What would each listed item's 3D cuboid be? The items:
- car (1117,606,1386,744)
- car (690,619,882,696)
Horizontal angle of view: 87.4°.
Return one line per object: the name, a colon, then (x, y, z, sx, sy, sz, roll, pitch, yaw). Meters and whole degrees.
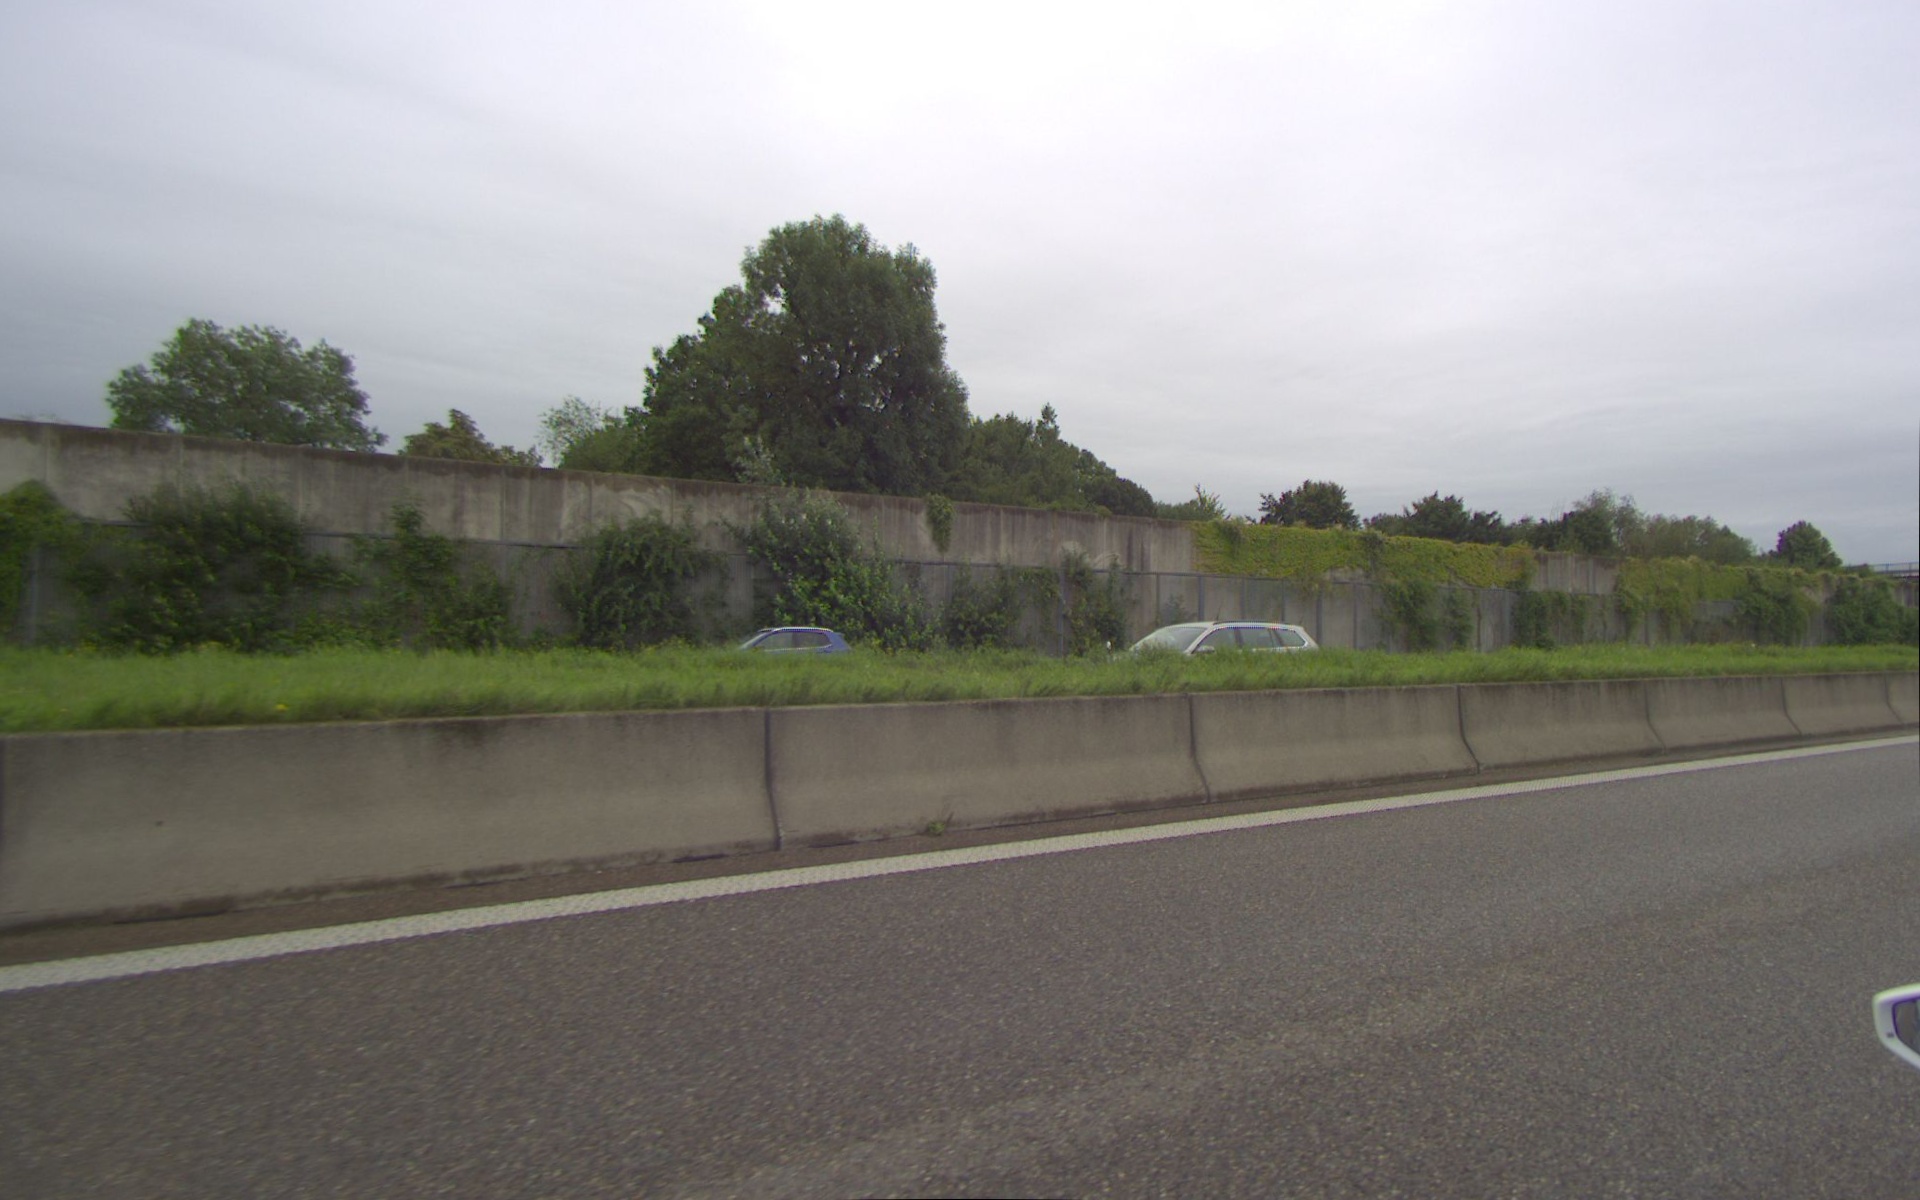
car: (5.007, 1.201, 17.131, 4.352, 2.040, 1.983, 2, 0, -32)
car: (-4.040, 1.304, 23.421, 3.957, 1.595, 1.982, 2, 0, -33)
